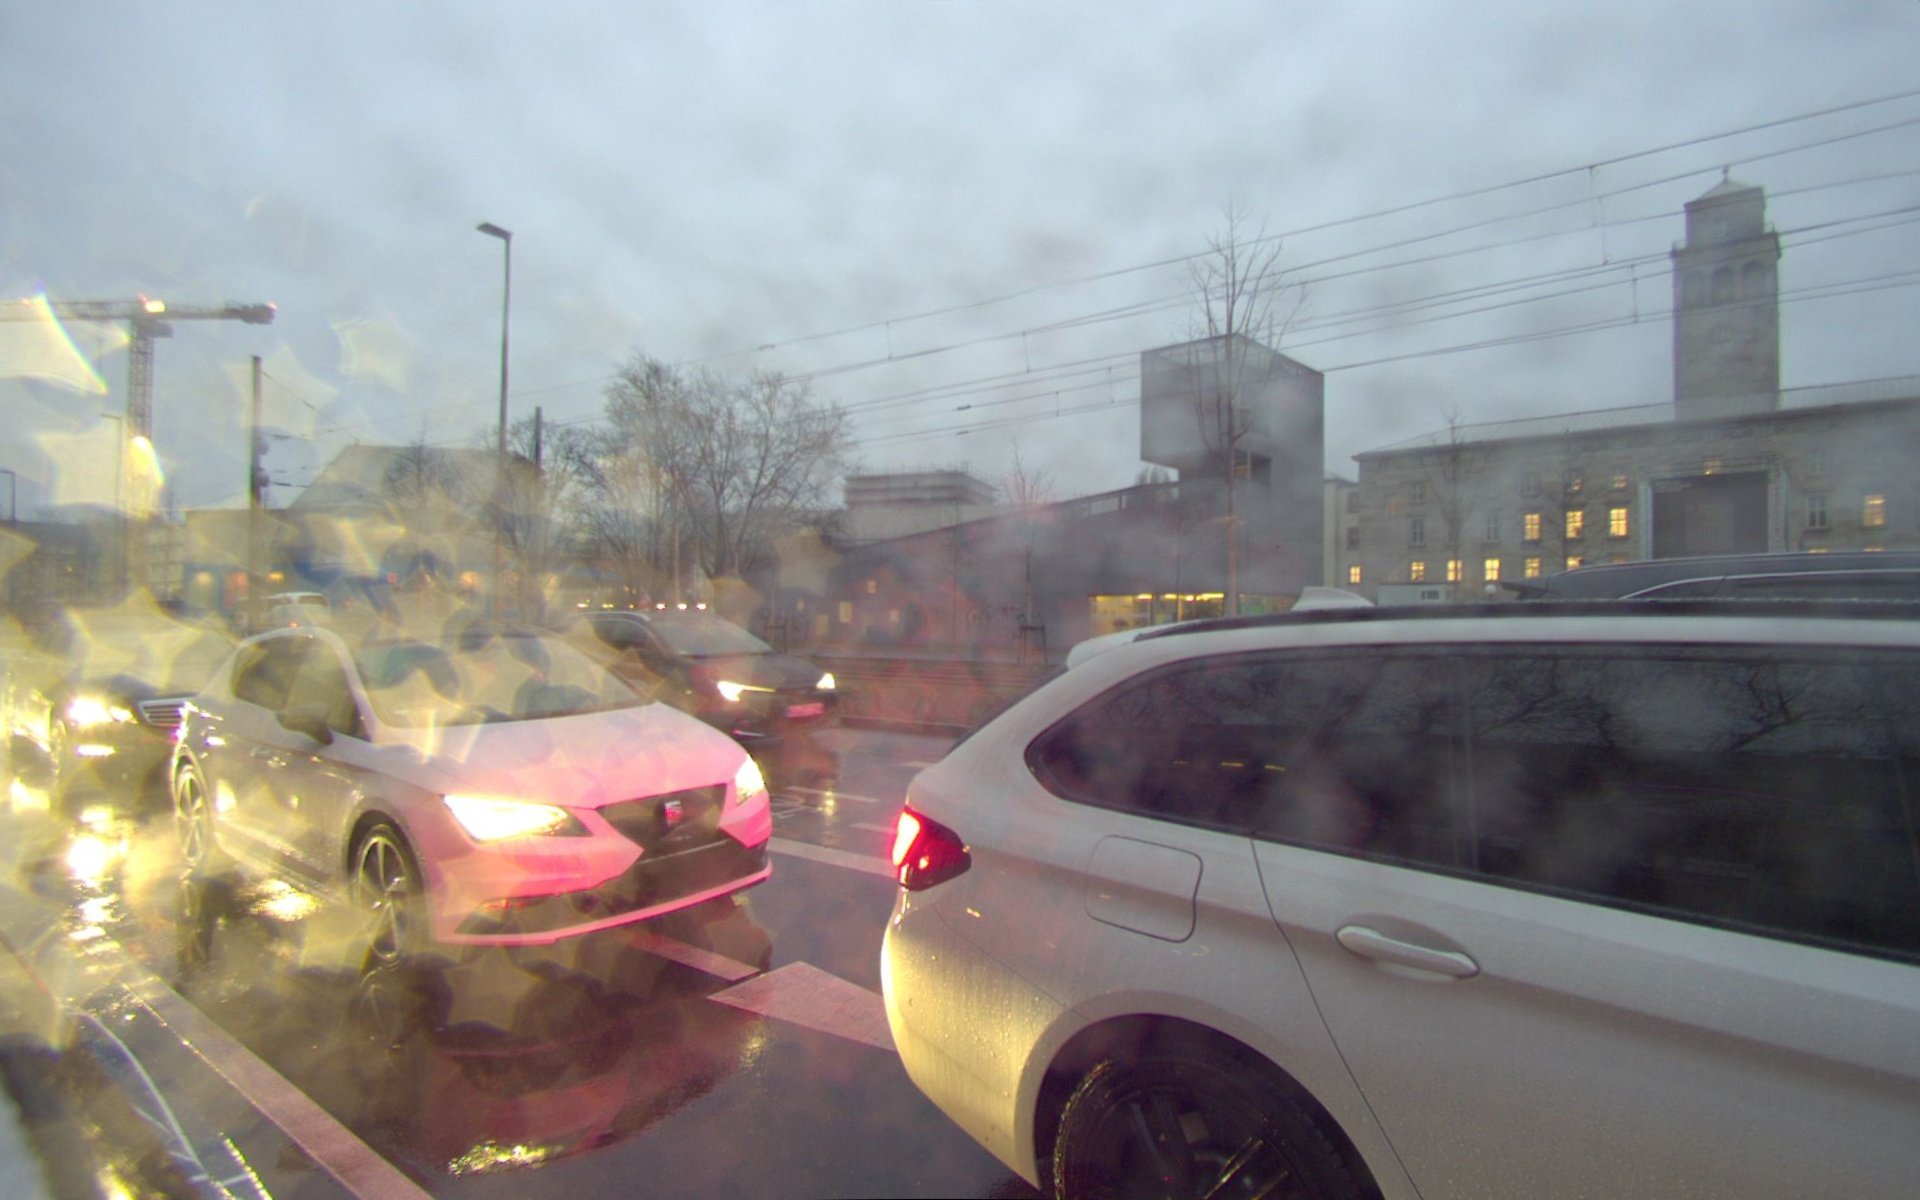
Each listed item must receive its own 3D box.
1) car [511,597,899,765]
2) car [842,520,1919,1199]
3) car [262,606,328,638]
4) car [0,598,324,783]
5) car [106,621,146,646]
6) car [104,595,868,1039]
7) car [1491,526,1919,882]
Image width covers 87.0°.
[{"bbox_3d":[-3.012,0.762,11.378,4.659,1.519,1.830,0,-1,39],"label":"car"},{"bbox_3d":[2.090,0.669,1.671,4.557,1.498,1.996,-1,-2,41],"label":"car"},{"bbox_3d":[-41.762,1.390,63.516,3.989,1.910,2.072,-1,-2,34],"label":"car"},{"bbox_3d":[-8.486,0.784,10.406,4.501,1.498,1.974,-1,-2,39],"label":"car"},{"bbox_3d":[-70.430,2.826,85.469,3.998,2.029,1.973,-1,0,41],"label":"car"},{"bbox_3d":[-2.829,0.768,5.579,4.497,1.498,1.926,-1,0,37],"label":"car"},{"bbox_3d":[5.231,0.472,4.998,4.289,1.596,1.946,-1,-1,42],"label":"car"}]
